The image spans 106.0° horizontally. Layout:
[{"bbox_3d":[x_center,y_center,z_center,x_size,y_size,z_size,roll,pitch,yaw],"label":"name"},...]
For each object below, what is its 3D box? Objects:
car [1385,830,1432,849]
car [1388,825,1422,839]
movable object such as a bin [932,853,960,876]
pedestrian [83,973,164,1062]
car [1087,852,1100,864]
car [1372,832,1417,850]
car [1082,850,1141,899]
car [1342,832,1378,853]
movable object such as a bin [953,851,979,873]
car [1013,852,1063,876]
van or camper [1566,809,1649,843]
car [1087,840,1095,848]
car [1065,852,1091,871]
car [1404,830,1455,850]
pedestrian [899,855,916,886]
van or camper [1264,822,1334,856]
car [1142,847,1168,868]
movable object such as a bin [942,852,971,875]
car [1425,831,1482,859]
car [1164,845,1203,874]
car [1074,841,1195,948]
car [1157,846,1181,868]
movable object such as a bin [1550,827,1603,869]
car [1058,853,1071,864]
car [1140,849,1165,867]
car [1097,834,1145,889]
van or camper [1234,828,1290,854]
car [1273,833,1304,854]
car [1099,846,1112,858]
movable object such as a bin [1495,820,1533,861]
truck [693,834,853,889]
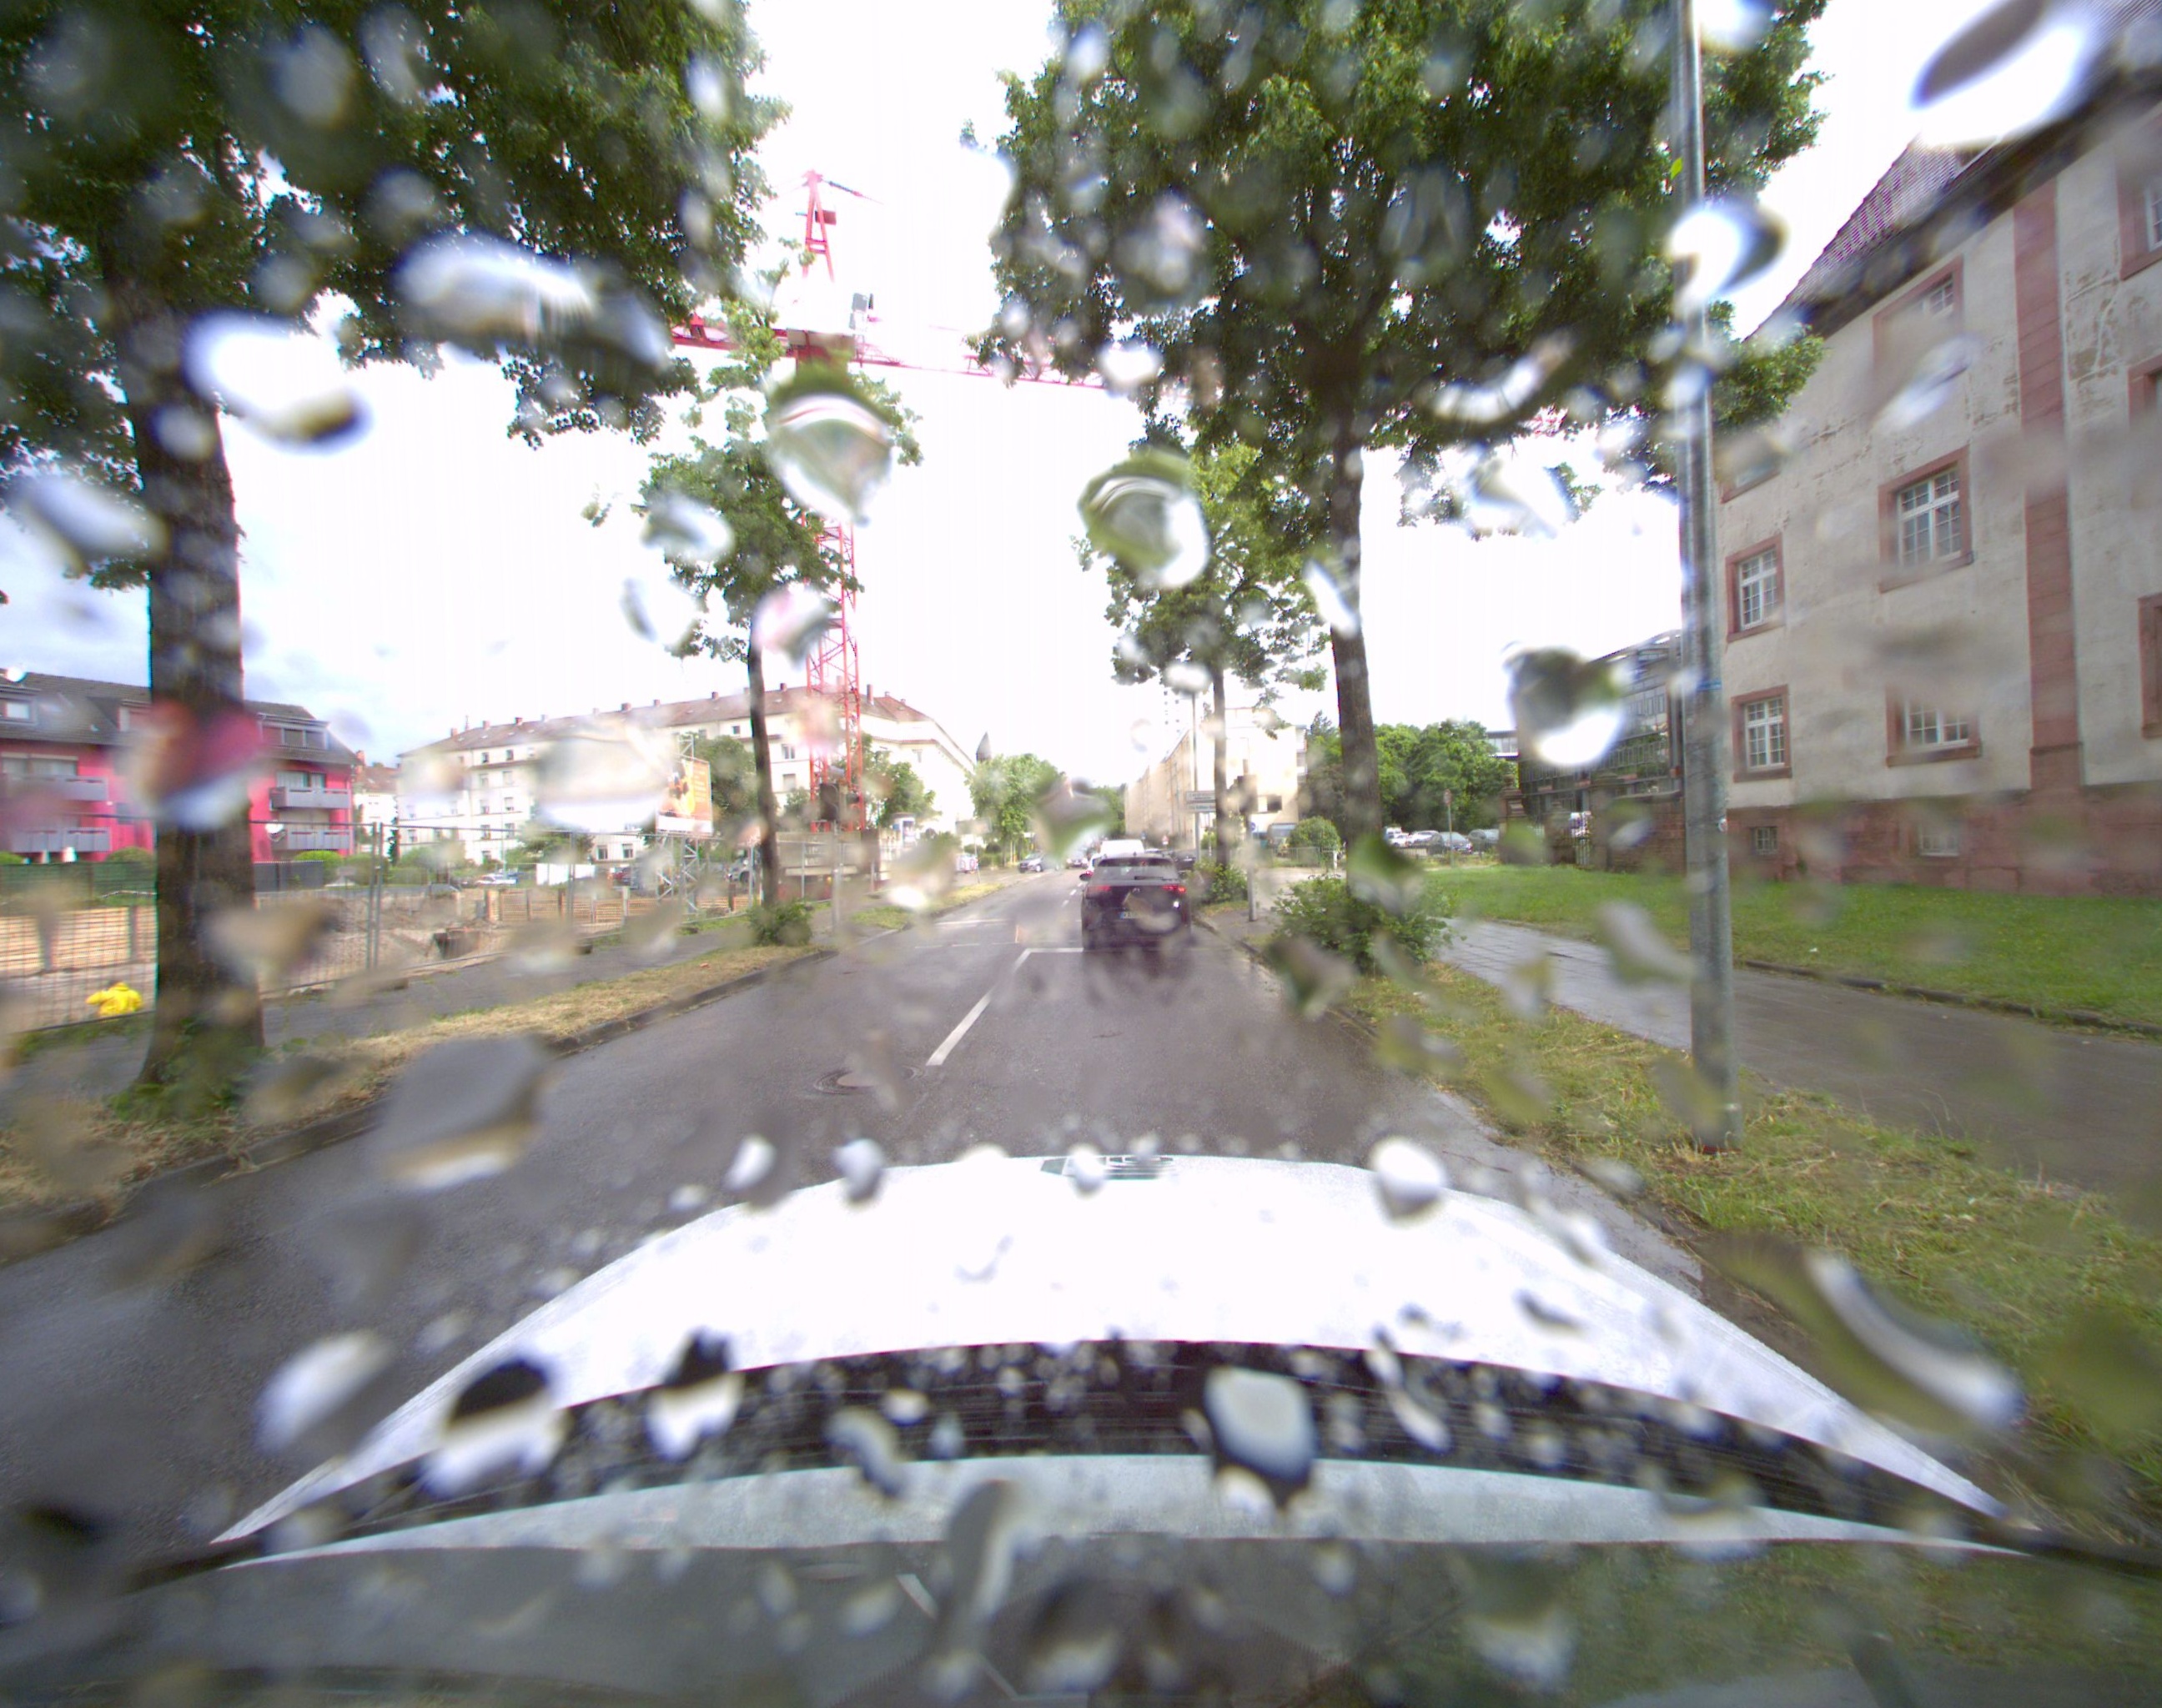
[{"bbox_3d":[30.085,-1.338,74.887,3.649,1.486,1.642,-3,0,5],"label":"car"},{"bbox_3d":[35.804,-2.429,90.068,3.210,1.397,1.511,-3,0,5],"label":"car"},{"bbox_3d":[-10.485,0.778,63.274,1.524,1.656,1.536,-3,1,21],"label":"movable object such as a bin"},{"bbox_3d":[-20.493,3.478,17.446,0.584,1.685,0.850,-5,0,7],"label":"pedestrian"},{"bbox_3d":[1.842,0.543,118.894,1.733,1.608,3.678,-4,0,3],"label":"car"},{"bbox_3d":[29.766,-1.227,77.375,3.649,1.486,1.642,-3,0,5],"label":"car"},{"bbox_3d":[1.001,0.642,27.165,1.806,1.503,4.002,0,-1,2],"label":"car"},{"bbox_3d":[20.839,-0.845,60.938,1.641,1.486,3.723,-3,0,5],"label":"car"},{"bbox_3d":[-9.342,0.646,66.329,1.524,1.662,1.466,-3,1,21],"label":"movable object such as a bin"},{"bbox_3d":[-3.155,0.707,60.550,1.871,1.637,4.024,-4,-2,28],"label":"car"},{"bbox_3d":[39.824,-2.106,61.681,4.768,2.486,2.258,0,-1,1],"label":"van or camper"},{"bbox_3d":[2.377,-2.328,192.519,1.660,1.837,3.999,-3,0,0],"label":"car"},{"bbox_3d":[-0.239,0.626,67.385,1.805,1.540,3.986,-1,-1,4],"label":"car"},{"bbox_3d":[29.808,-1.188,69.654,3.649,1.486,1.642,-3,0,5],"label":"car"},{"bbox_3d":[-9.329,0.877,43.802,0.727,1.629,0.676,0,-1,-36],"label":"pedestrian"},{"bbox_3d":[17.346,-1.174,65.066,4.978,2.554,2.176,-2,-1,3],"label":"van or camper"},{"bbox_3d":[6.069,0.298,67.009,1.599,1.508,4.159,-4,0,0],"label":"car"},{"bbox_3d":[-9.897,0.722,64.824,1.524,1.674,1.674,-3,1,21],"label":"movable object such as a bin"},{"bbox_3d":[22.506,-0.558,49.429,1.819,1.527,4.432,-3,0,7],"label":"car"},{"bbox_3d":[6.258,0.294,50.072,1.768,1.539,4.378,-5,0,0],"label":"car"},{"bbox_3d":[0.899,0.645,14.744,1.866,1.645,4.063,-1,0,2],"label":"car"},{"bbox_3d":[6.660,0.276,61.603,1.748,1.528,4.006,1,-2,6],"label":"car"},{"bbox_3d":[18.458,-0.236,30.351,1.101,1.457,1.392,-4,0,3],"label":"movable object such as a bin"},{"bbox_3d":[-2.789,0.791,139.920,1.833,1.608,4.003,-4,0,3],"label":"car"},{"bbox_3d":[6.358,0.371,72.925,1.744,1.508,4.109,-2,0,-2],"label":"car"},{"bbox_3d":[1.679,0.310,33.406,1.828,2.103,4.004,0,-1,4],"label":"car"},{"bbox_3d":[16.762,-1.209,75.491,4.736,2.131,2.325,-2,1,5],"label":"van or camper"},{"bbox_3d":[15.652,-0.809,61.557,1.604,1.448,3.419,-3,0,2],"label":"car"},{"bbox_3d":[3.819,-0.331,128.234,1.833,1.608,3.678,-4,0,3],"label":"car"},{"bbox_3d":[16.052,-0.494,30.224,0.796,1.457,1.098,-4,0,3],"label":"movable object such as a bin"},{"bbox_3d":[-21.100,0.521,55.845,9.737,3.184,3.809,-3,0,16],"label":"truck"}]
